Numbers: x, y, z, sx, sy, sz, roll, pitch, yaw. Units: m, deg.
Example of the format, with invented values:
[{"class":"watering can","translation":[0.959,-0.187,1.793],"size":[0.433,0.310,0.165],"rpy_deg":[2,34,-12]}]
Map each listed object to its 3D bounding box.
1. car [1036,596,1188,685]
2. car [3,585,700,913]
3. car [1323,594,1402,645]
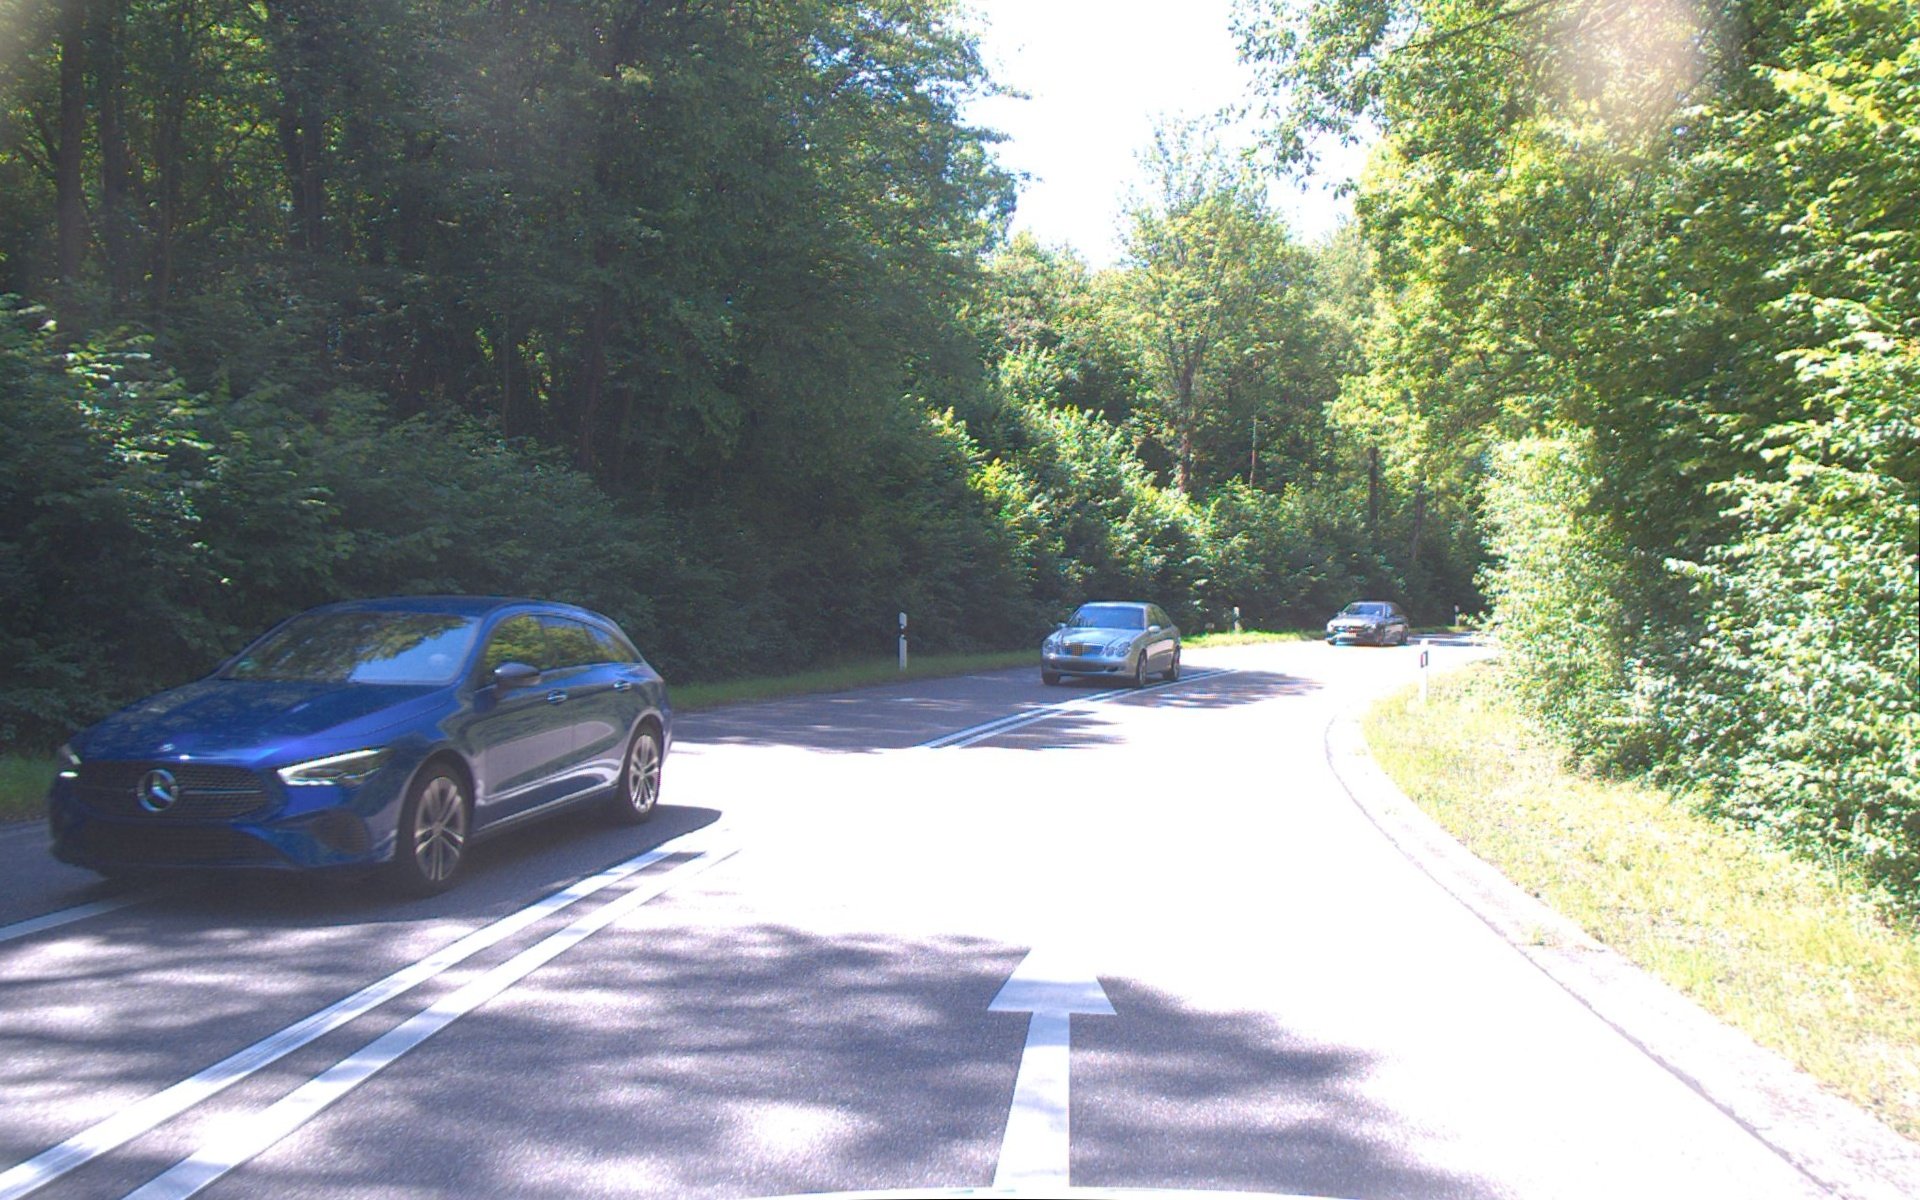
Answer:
[{"class":"car","translation":[2.891,0.714,30.427],"size":[1.807,1.512,4.767],"rpy_deg":[-1,-1,18]},{"class":"car","translation":[-3.093,0.681,9.538],"size":[1.750,1.431,4.364],"rpy_deg":[0,-1,11]},{"class":"car","translation":[13.531,0.648,55.427],"size":[1.722,1.601,4.364],"rpy_deg":[1,0,25]}]
